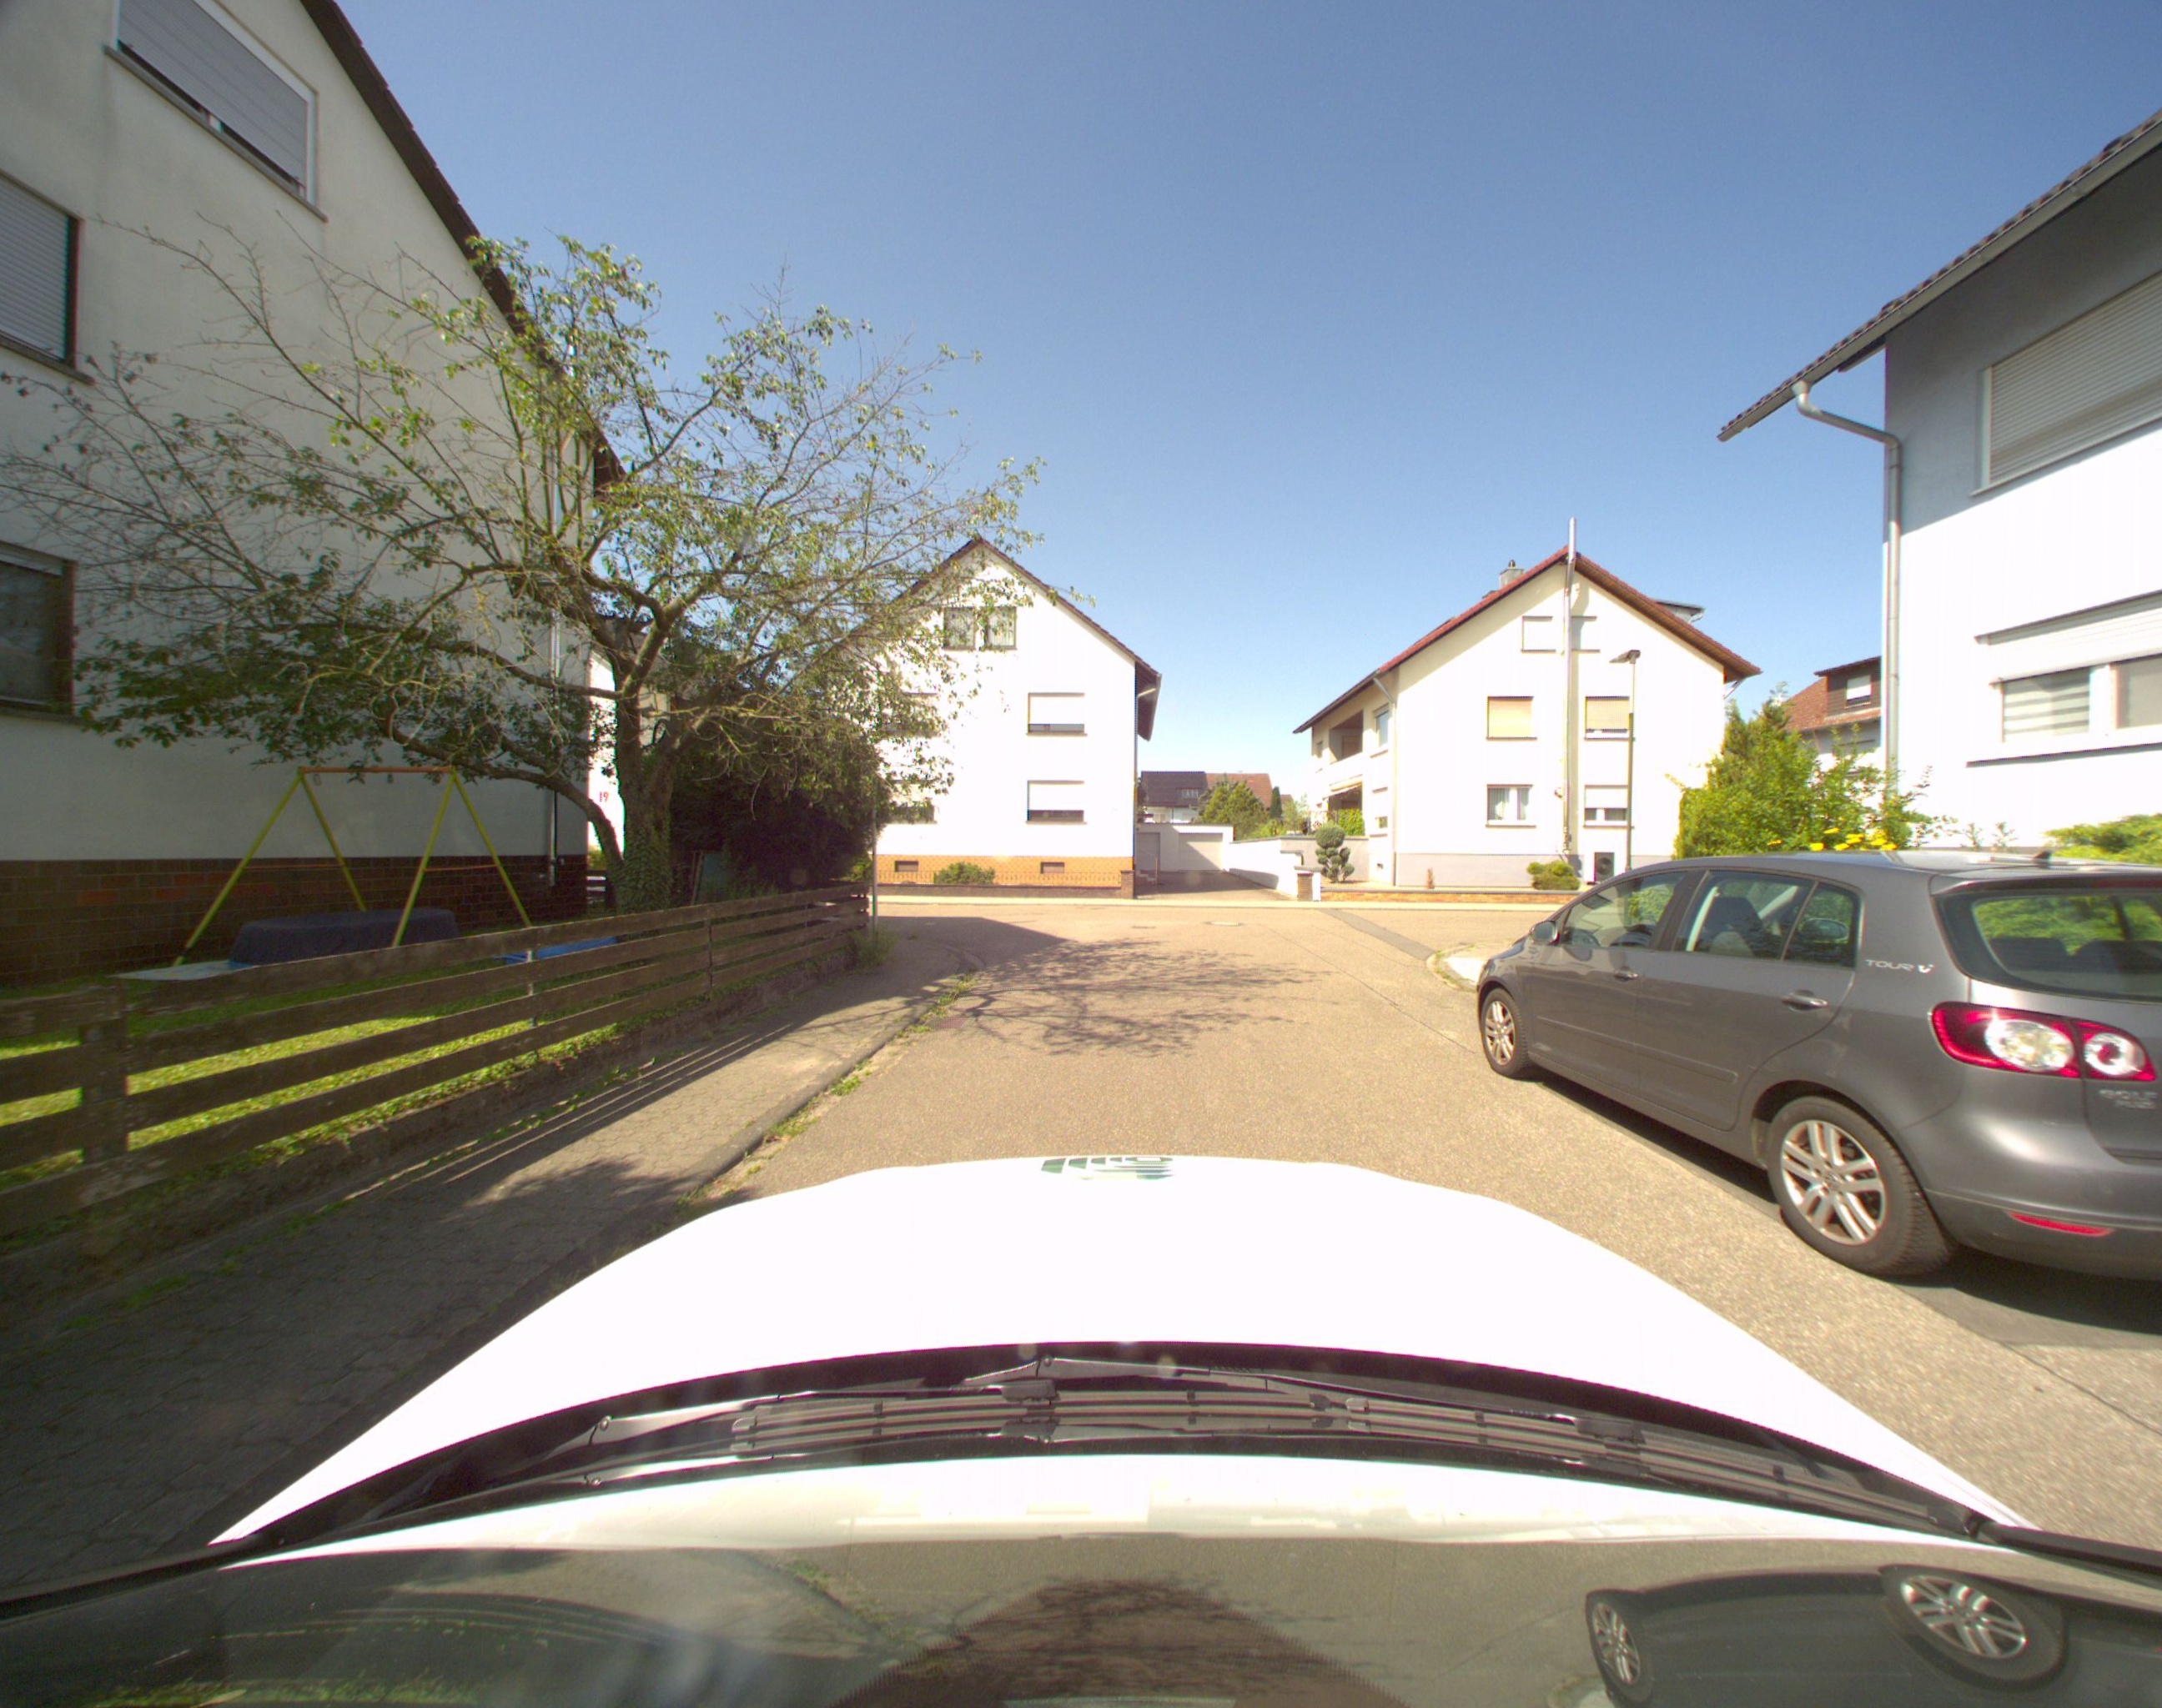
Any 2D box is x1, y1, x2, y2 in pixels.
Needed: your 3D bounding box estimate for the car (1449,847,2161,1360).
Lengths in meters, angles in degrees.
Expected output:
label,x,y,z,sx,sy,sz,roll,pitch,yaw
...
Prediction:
label,x,y,z,sx,sy,sz,roll,pitch,yaw
car,3.680,0.739,4.468,1.639,1.546,4.050,0,0,2
